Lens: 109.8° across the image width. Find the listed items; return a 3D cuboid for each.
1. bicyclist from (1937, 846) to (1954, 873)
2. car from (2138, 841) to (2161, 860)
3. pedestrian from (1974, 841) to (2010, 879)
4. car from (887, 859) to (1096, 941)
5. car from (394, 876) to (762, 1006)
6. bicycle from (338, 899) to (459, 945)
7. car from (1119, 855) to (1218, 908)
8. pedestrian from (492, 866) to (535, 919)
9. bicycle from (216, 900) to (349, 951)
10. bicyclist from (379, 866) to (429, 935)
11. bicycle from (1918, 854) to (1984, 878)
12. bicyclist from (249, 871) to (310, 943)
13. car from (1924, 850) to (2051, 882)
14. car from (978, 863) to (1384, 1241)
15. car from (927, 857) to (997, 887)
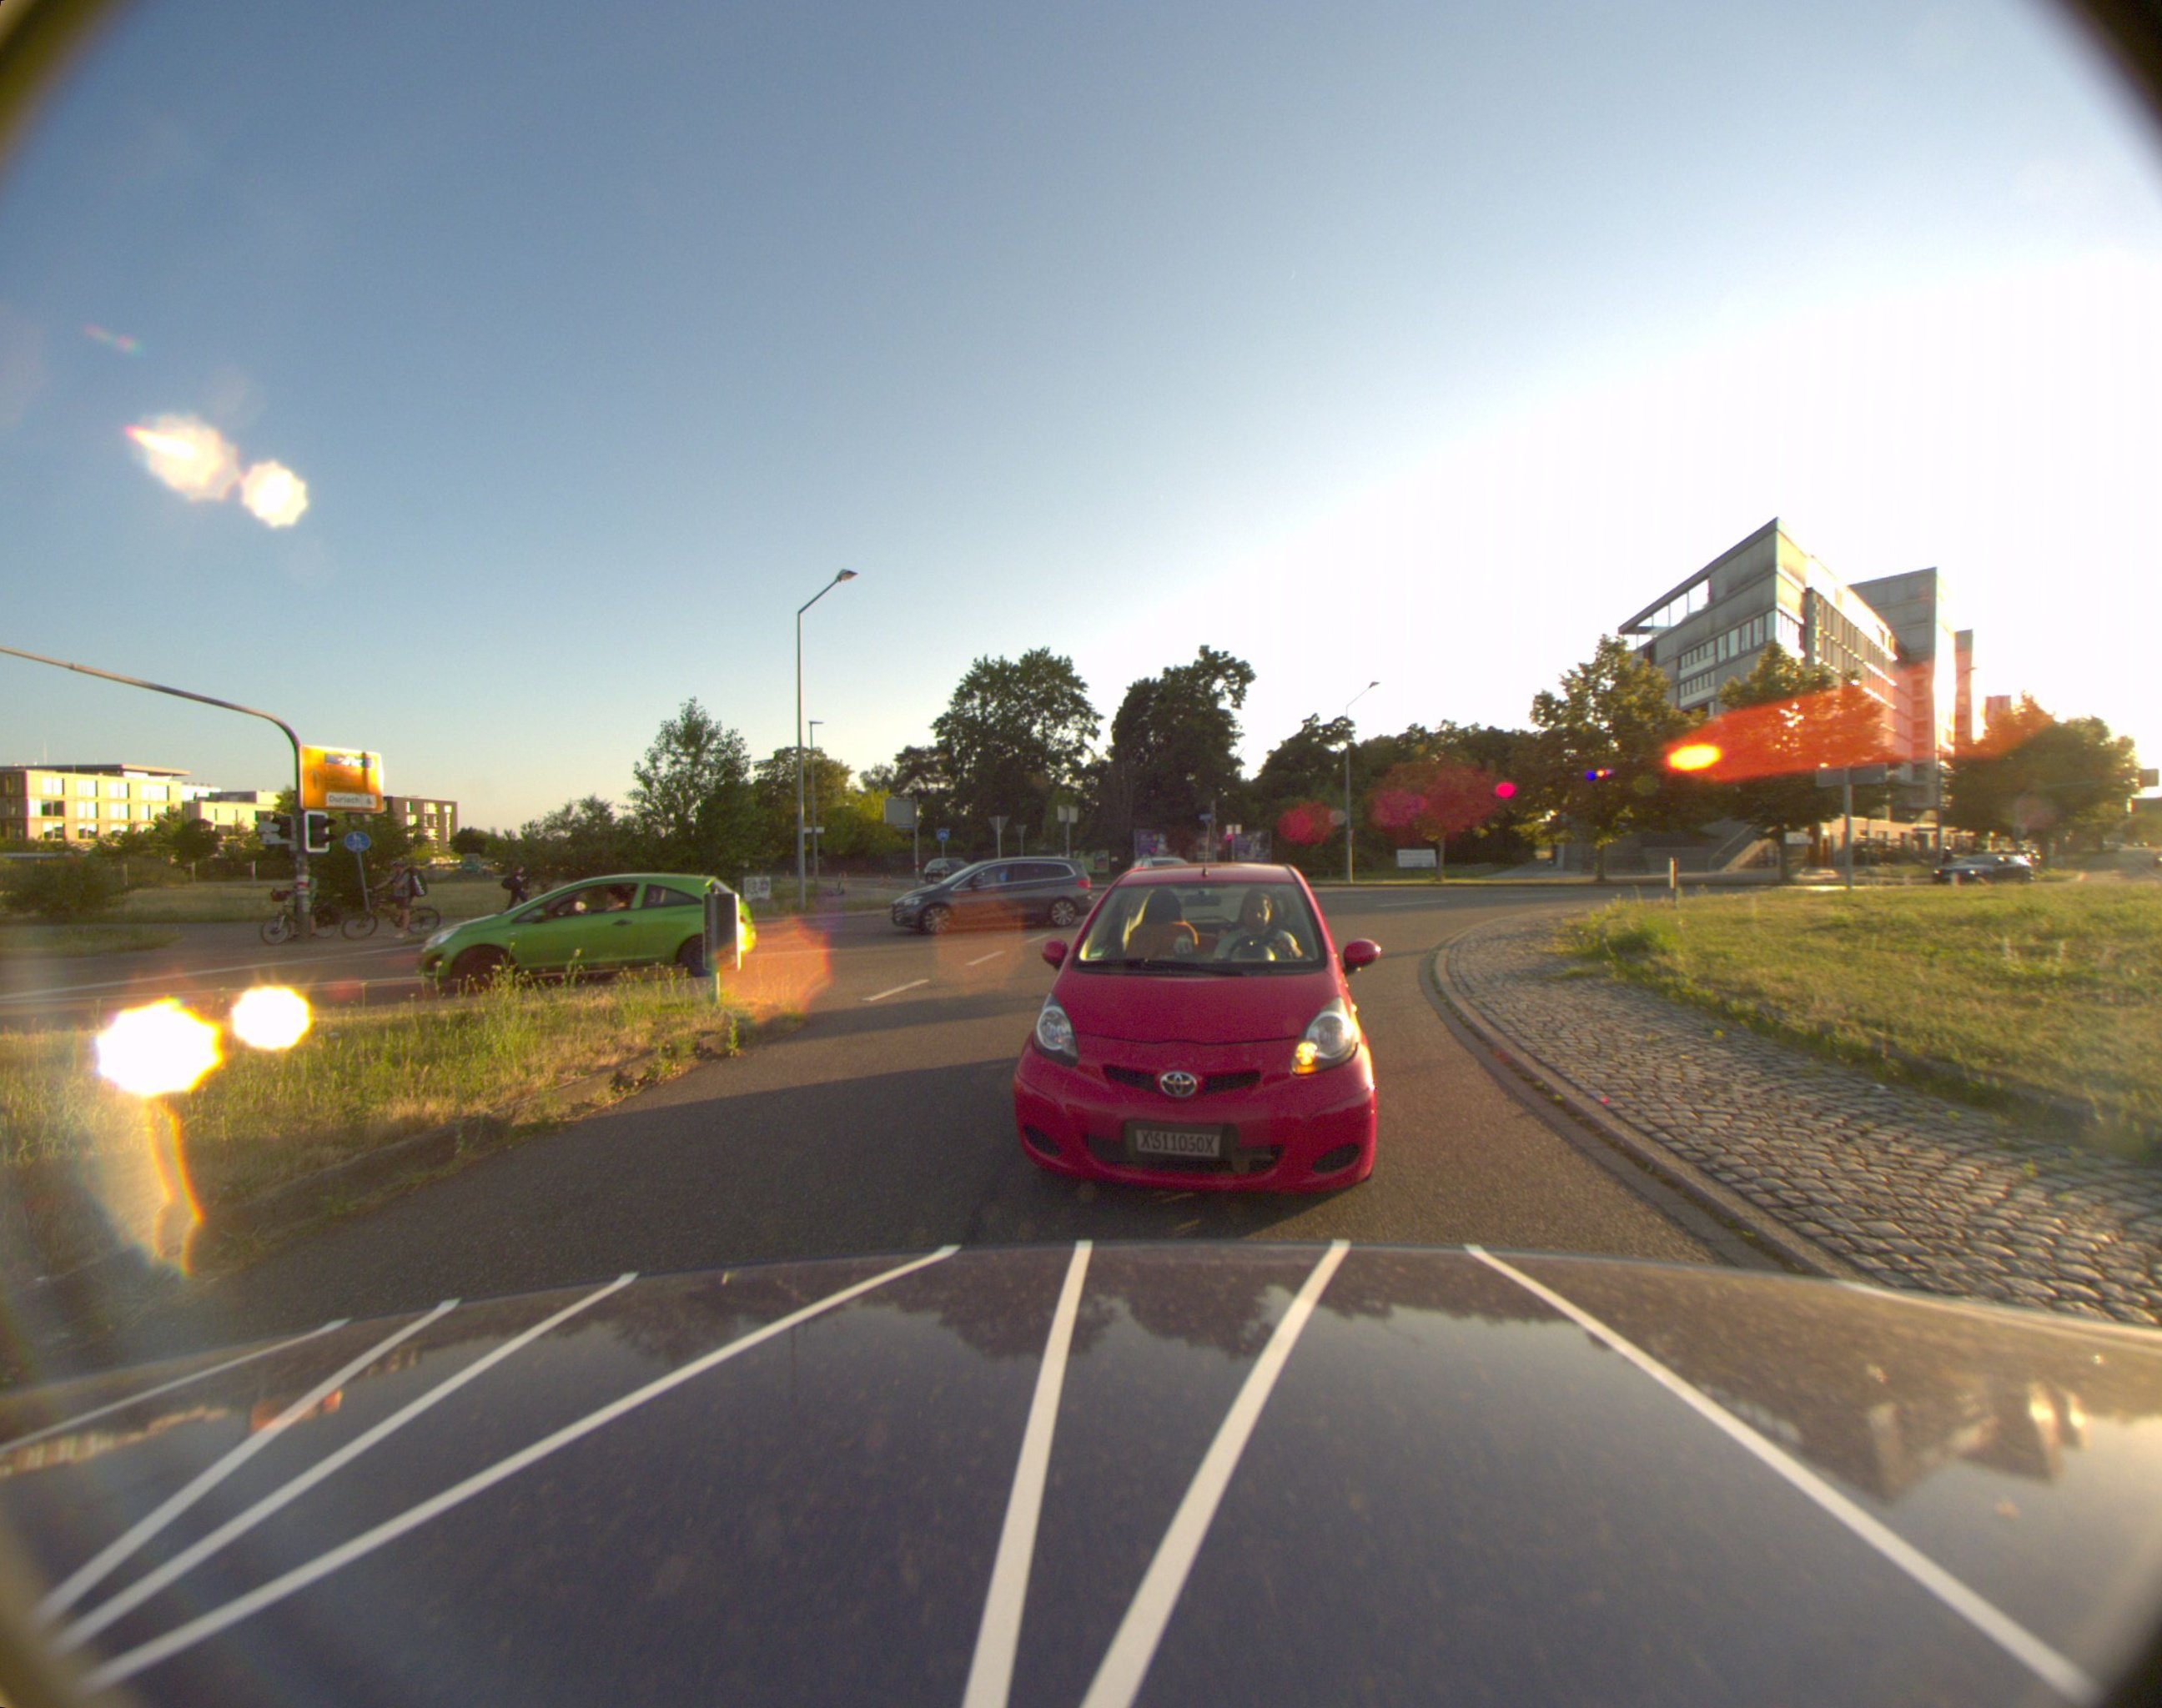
[{"bbox_3d":[46.978,0.306,41.285,0.693,1.432,0.610,-2,1,-42],"label":"bicyclist"},{"bbox_3d":[89.298,-0.311,62.802,4.008,1.444,1.994,-1,1,-39],"label":"car"},{"bbox_3d":[49.305,0.306,41.128,0.776,2.002,0.998,-2,1,-11],"label":"pedestrian"},{"bbox_3d":[-2.016,0.953,17.032,4.334,1.568,1.731,-1,1,-20],"label":"car"},{"bbox_3d":[-6.685,1.089,10.653,4.004,1.412,1.686,-1,1,-21],"label":"car"},{"bbox_3d":[-17.155,1.682,19.172,0.708,0.957,2.149,-1,0,26],"label":"bicycle"},{"bbox_3d":[2.845,0.857,25.781,2.001,1.597,4.193,-1,0,-14],"label":"car"},{"bbox_3d":[-17.709,1.194,23.743,0.993,1.581,0.924,-1,1,-33],"label":"pedestrian"},{"bbox_3d":[-19.265,1.700,18.411,0.708,0.958,2.109,-1,2,14],"label":"bicycle"},{"bbox_3d":[-17.139,1.167,19.232,0.723,1.680,0.690,-1,1,28],"label":"bicyclist"},{"bbox_3d":[47.091,0.626,41.143,0.744,1.237,2.341,-2,1,-41],"label":"bicycle"},{"bbox_3d":[-19.324,1.260,18.324,0.724,1.680,0.690,-1,1,12],"label":"bicyclist"},{"bbox_3d":[41.191,0.531,34.566,4.125,1.371,1.750,-1,0,-7],"label":"car"},{"bbox_3d":[0.876,0.817,5.139,1.686,1.412,4.004,-1,0,15],"label":"car"},{"bbox_3d":[-6.819,0.970,43.235,2.004,1.588,4.302,-1,1,-39],"label":"car"}]
